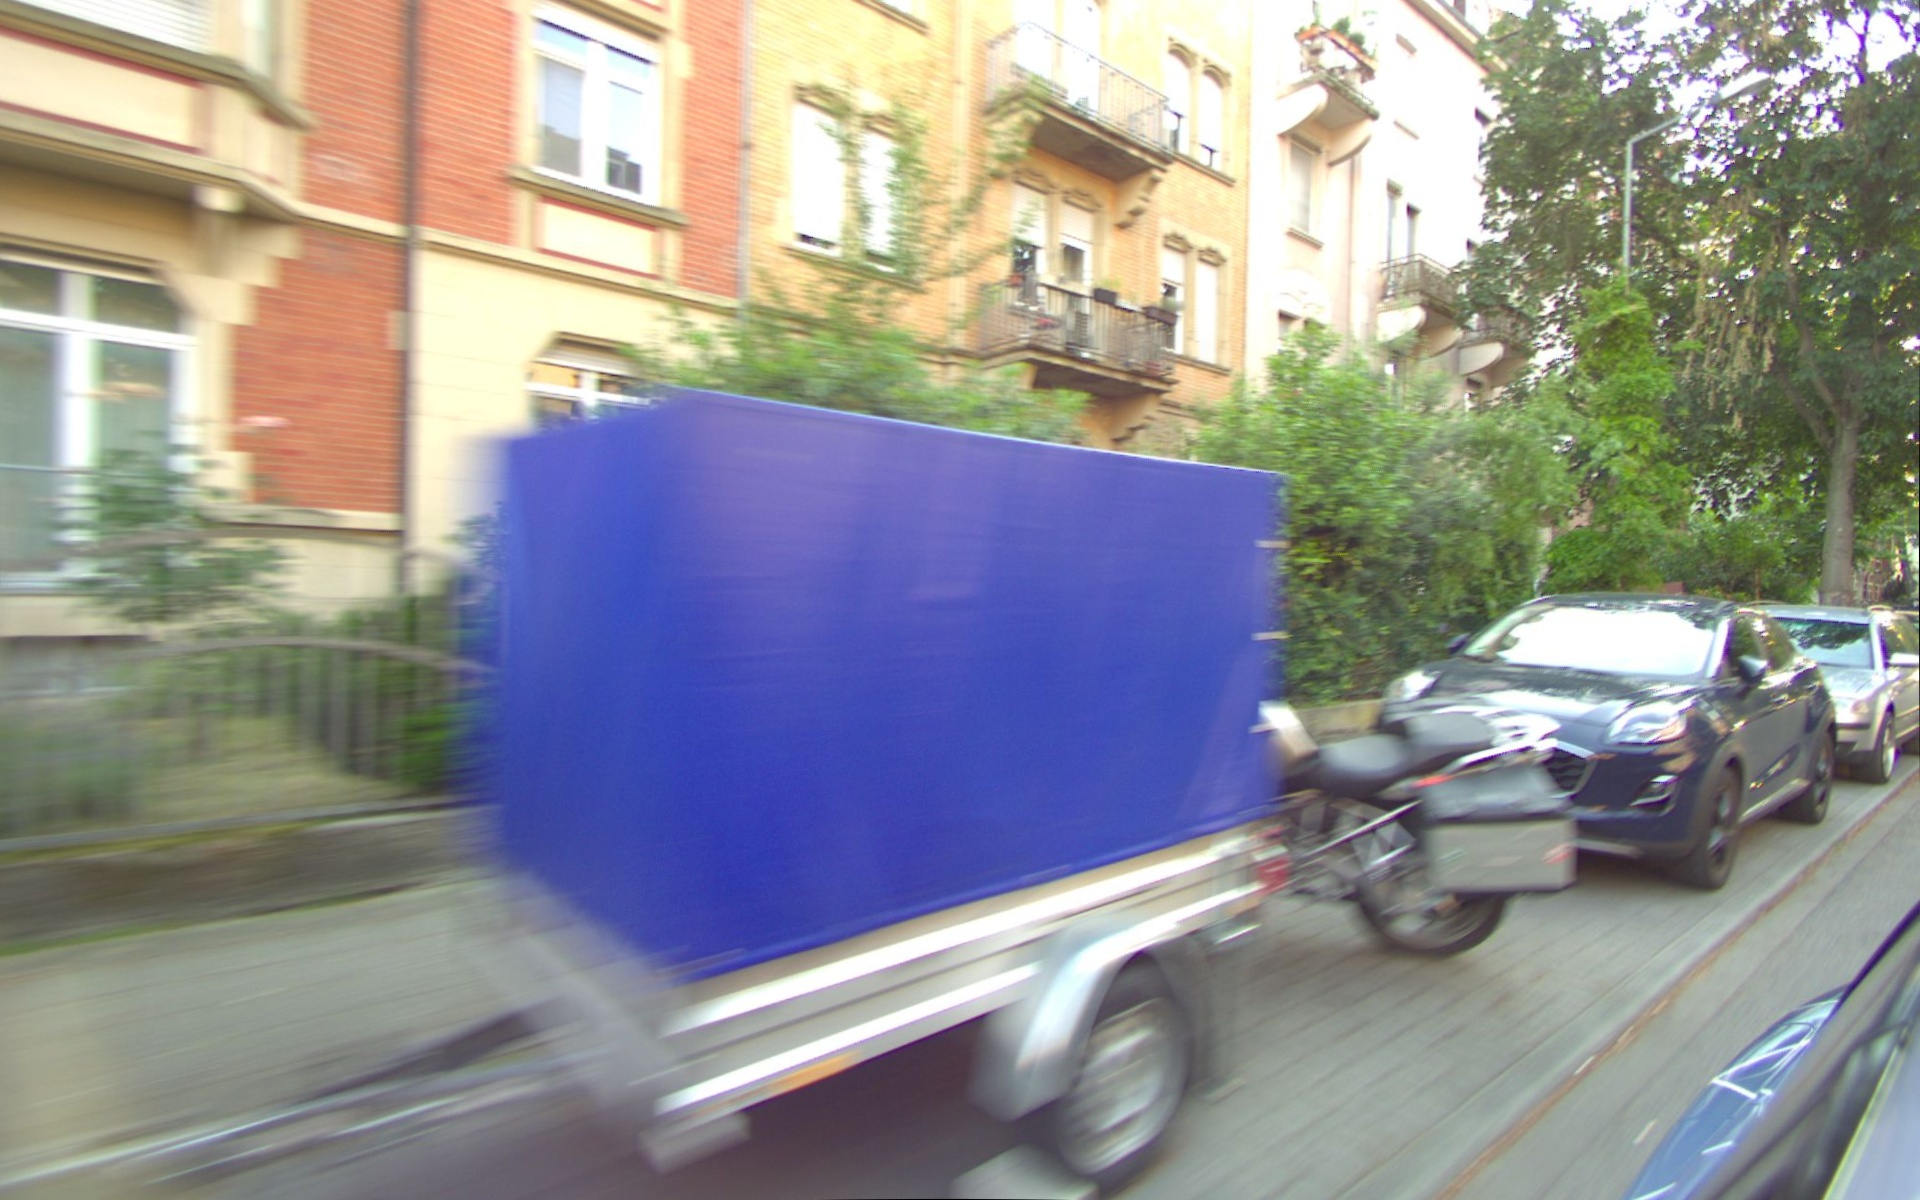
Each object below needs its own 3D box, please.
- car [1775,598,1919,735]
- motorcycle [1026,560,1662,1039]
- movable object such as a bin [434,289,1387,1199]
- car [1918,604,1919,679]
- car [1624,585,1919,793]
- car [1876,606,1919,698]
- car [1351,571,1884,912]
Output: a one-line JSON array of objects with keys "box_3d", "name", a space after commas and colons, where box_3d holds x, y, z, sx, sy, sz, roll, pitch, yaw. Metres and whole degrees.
[{"box_3d": [11.838, 0.760, 12.849, 3.537, 1.544, 1.589, 1, -1, -39], "name": "car"}, {"box_3d": [1.420, 0.630, 4.145, 2.066, 1.500, 1.128, 3, 2, 17], "name": "motorcycle"}, {"box_3d": [-0.047, 0.440, 2.877, 2.284, 1.901, 1.415, 0, 2, -41], "name": "movable object such as a bin"}, {"box_3d": [21.432, 0.868, 21.398, 3.862, 1.526, 1.477, 1, 0, -43], "name": "car"}, {"box_3d": [8.449, 0.708, 10.014, 4.754, 1.602, 1.760, 0, -1, -39], "name": "car"}, {"box_3d": [17.640, 0.881, 17.948, 4.093, 1.526, 1.734, 1, 0, -43], "name": "car"}, {"box_3d": [4.512, 0.660, 6.679, 4.246, 1.571, 1.724, 0, 0, -39], "name": "car"}]
